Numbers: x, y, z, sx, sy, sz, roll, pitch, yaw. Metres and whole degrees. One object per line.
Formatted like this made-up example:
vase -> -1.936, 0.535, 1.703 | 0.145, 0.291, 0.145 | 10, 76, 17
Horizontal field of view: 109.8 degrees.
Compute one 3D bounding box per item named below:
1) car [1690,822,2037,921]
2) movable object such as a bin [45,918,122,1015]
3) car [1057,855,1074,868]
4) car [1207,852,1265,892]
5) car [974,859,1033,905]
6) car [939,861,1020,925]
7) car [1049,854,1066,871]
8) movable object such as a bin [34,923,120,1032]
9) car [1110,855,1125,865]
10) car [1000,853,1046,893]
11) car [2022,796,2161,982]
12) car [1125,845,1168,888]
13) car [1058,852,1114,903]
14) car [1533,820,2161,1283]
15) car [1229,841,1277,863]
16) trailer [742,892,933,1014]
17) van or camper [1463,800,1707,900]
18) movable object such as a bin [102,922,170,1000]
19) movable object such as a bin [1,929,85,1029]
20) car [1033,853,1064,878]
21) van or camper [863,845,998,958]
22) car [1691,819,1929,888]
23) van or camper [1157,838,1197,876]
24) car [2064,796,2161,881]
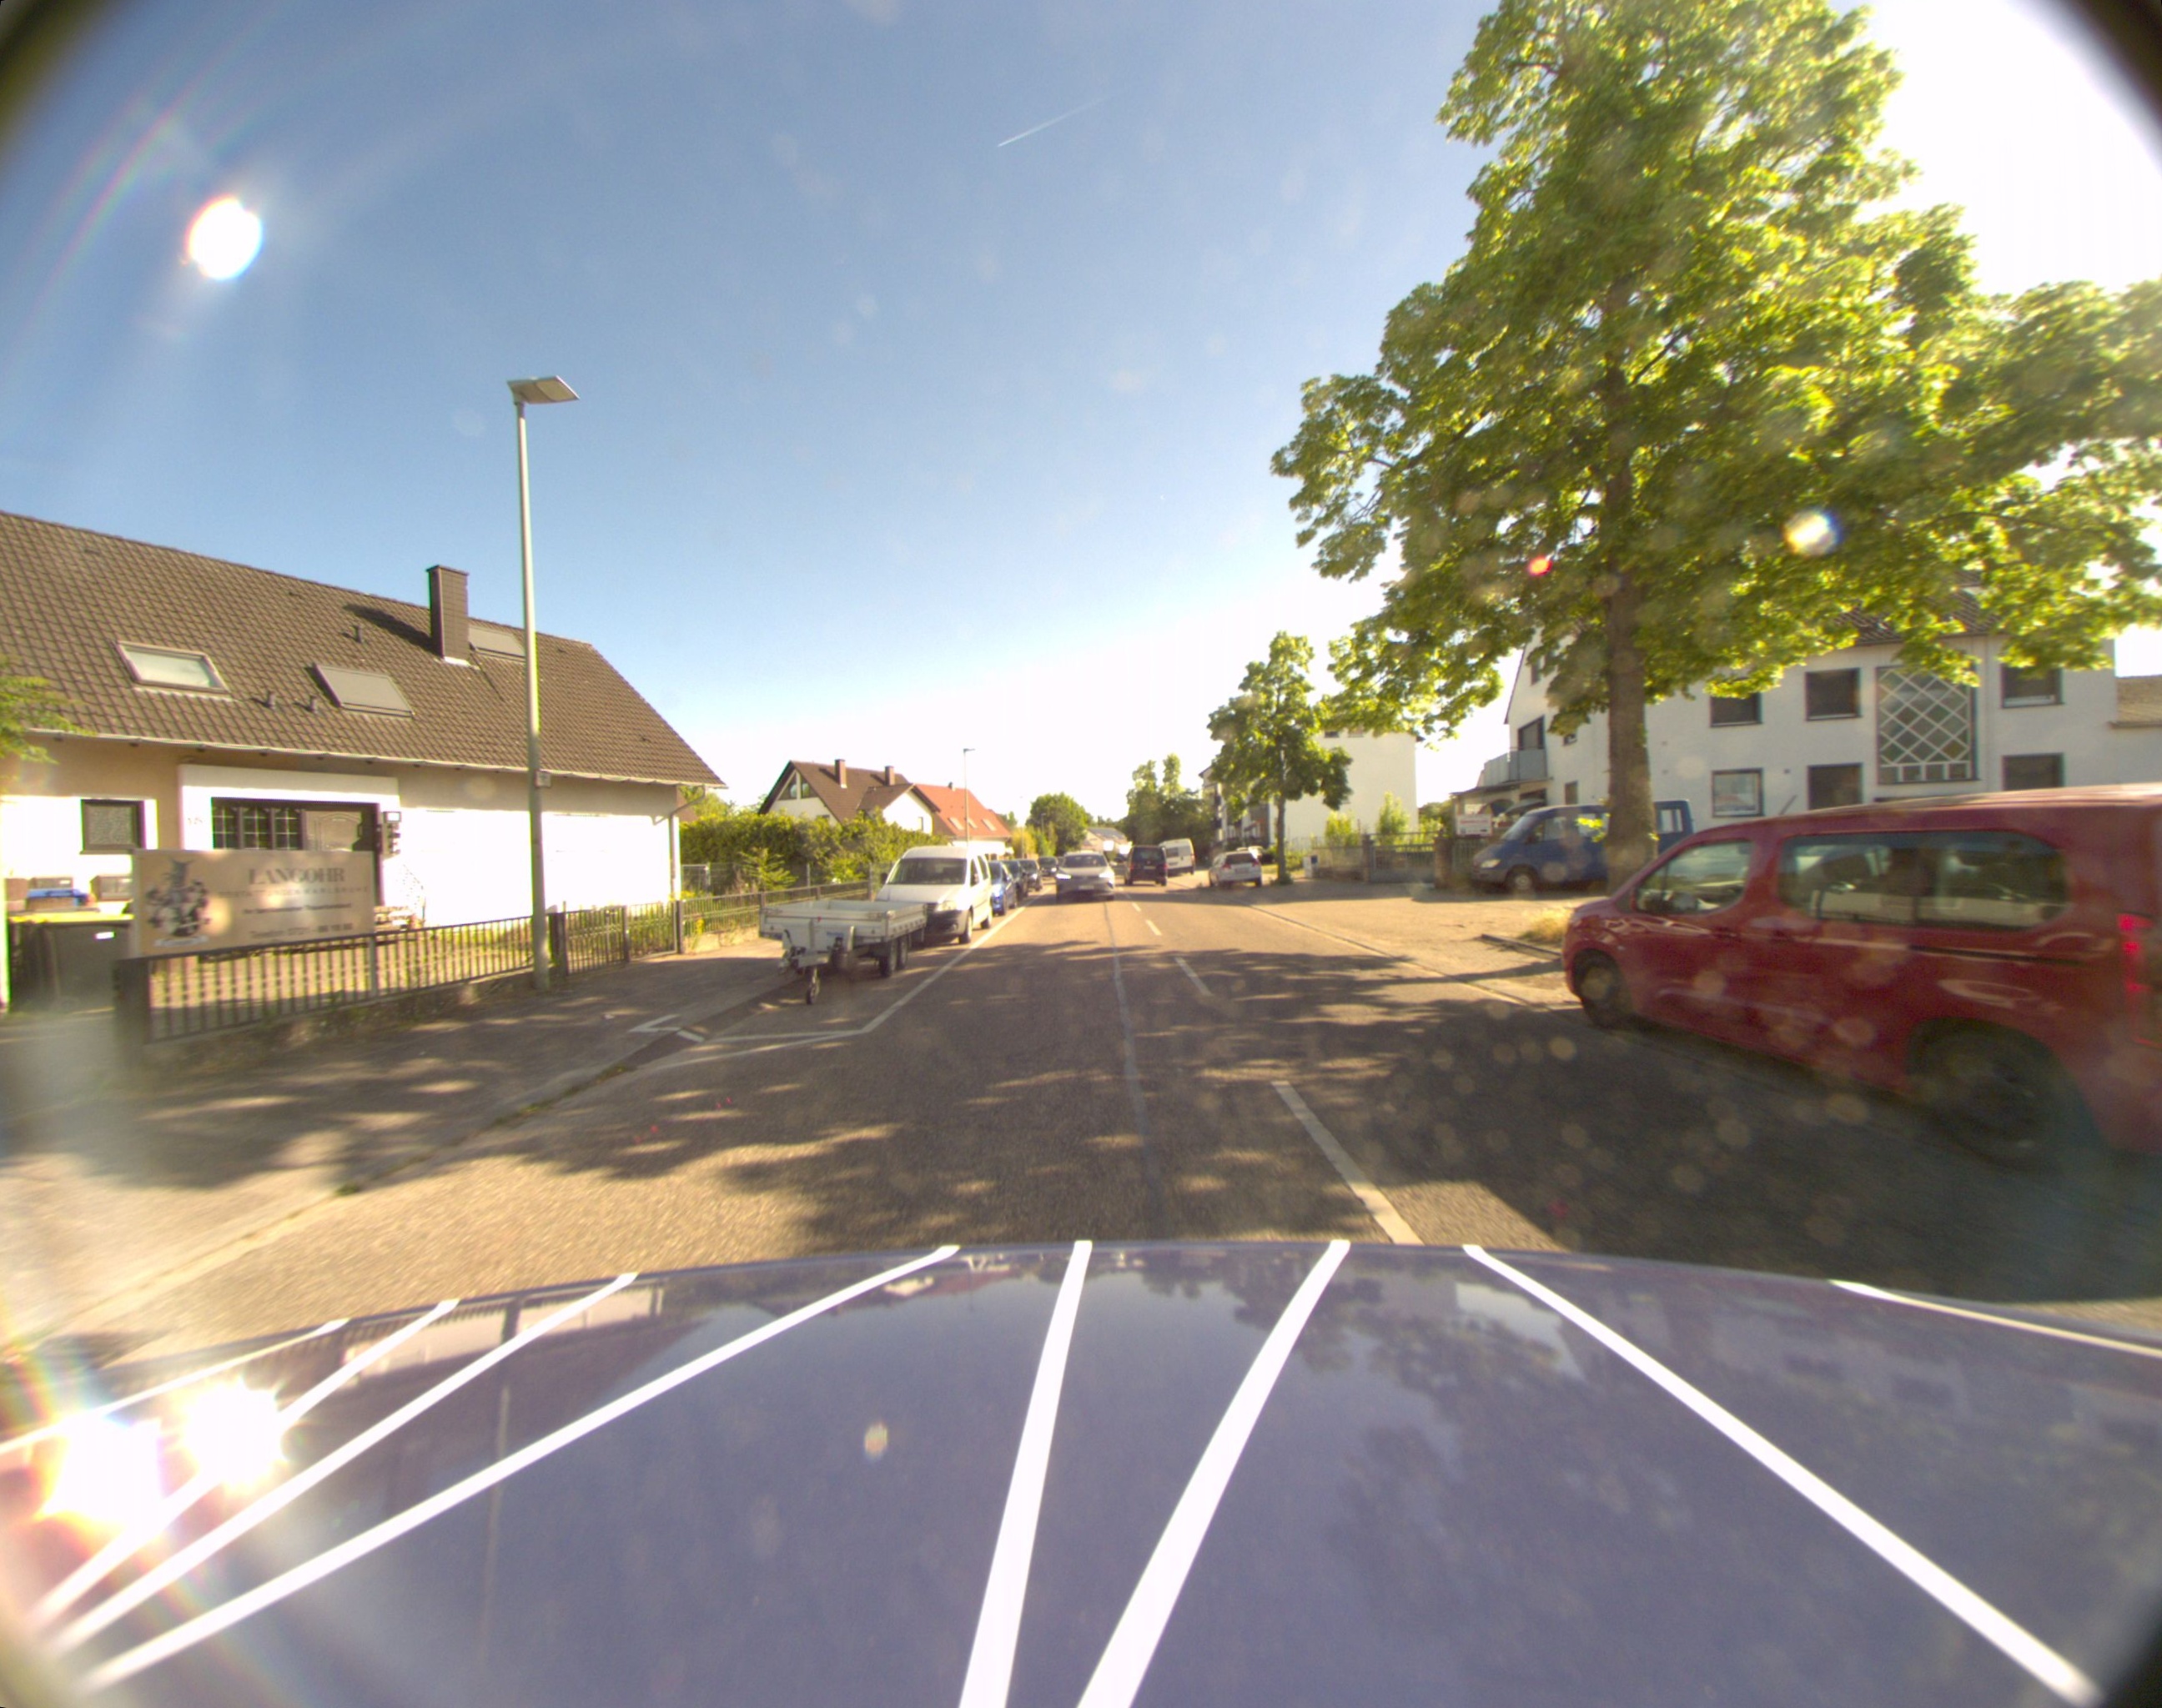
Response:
car -> 14.106, 0.310, 13.948 | 4.257, 1.533, 1.766 | -2, 0, 7
movable object such as a bin -> -11.907, 1.319, 9.072 | 0.503, 1.072, 0.459 | -2, 1, 29
car -> -1.752, 0.844, 87.934 | 1.646, 1.485, 3.890 | -1, 0, 3
car -> 6.435, 0.697, 31.848 | 1.691, 1.427, 4.209 | -4, 0, 3
car -> -2.831, 0.977, 28.356 | 1.723, 1.496, 3.906 | -2, 0, 0
car -> -2.720, 1.005, 21.066 | 1.723, 1.496, 3.563 | -2, 0, 0
car -> -2.395, 0.820, 77.072 | 1.661, 1.591, 3.815 | -2, 0, -2
movable object such as a bin -> -10.895, 1.319, 8.248 | 0.503, 1.090, 0.459 | -2, 1, 29
car -> 7.097, 1.147, 147.184 | 1.774, 1.727, 3.710 | 1, 1, 23
car -> -2.610, 0.832, 35.079 | 1.780, 1.649, 3.816 | -2, 0, 0
car -> 12.254, 0.271, 7.186 | 4.258, 1.742, 1.766 | -2, 1, 5
car -> 3.242, 0.582, 38.434 | 1.898, 2.019, 4.818 | 0, 0, 2
car -> 0.165, 0.770, 26.348 | 1.777, 1.624, 3.704 | -1, 0, 0
car -> 5.125, 0.738, 4.929 | 1.808, 1.742, 4.342 | -4, 0, 2
car -> 13.205, -0.187, 58.071 | 1.610, 1.505, 4.397 | -2, 0, 42
trailer -> -3.136, 1.231, 10.425 | 1.631, 1.210, 3.144 | -2, 0, -2
van or camper -> 13.089, -0.093, 20.137 | 4.899, 2.307, 2.246 | -2, 1, 15
movable object such as a bin -> -12.645, 1.417, 10.173 | 0.503, 0.959, 0.459 | -2, 1, 29
movable object such as a bin -> -11.521, 1.364, 8.433 | 0.503, 1.020, 0.459 | -2, 1, 29
car -> -2.316, 0.804, 54.515 | 1.780, 1.649, 4.304 | -2, 0, 3
van or camper -> -2.830, 0.813, 15.225 | 1.723, 1.879, 4.179 | -2, 0, 1
car -> 18.087, -0.024, 19.059 | 3.988, 1.570, 1.680 | -1, 2, 14
van or camper -> 6.761, 0.256, 53.965 | 2.128, 2.475, 5.556 | -2, -1, 1
car -> 25.292, -0.400, 16.873 | 4.047, 1.825, 1.680 | -2, 0, 14
